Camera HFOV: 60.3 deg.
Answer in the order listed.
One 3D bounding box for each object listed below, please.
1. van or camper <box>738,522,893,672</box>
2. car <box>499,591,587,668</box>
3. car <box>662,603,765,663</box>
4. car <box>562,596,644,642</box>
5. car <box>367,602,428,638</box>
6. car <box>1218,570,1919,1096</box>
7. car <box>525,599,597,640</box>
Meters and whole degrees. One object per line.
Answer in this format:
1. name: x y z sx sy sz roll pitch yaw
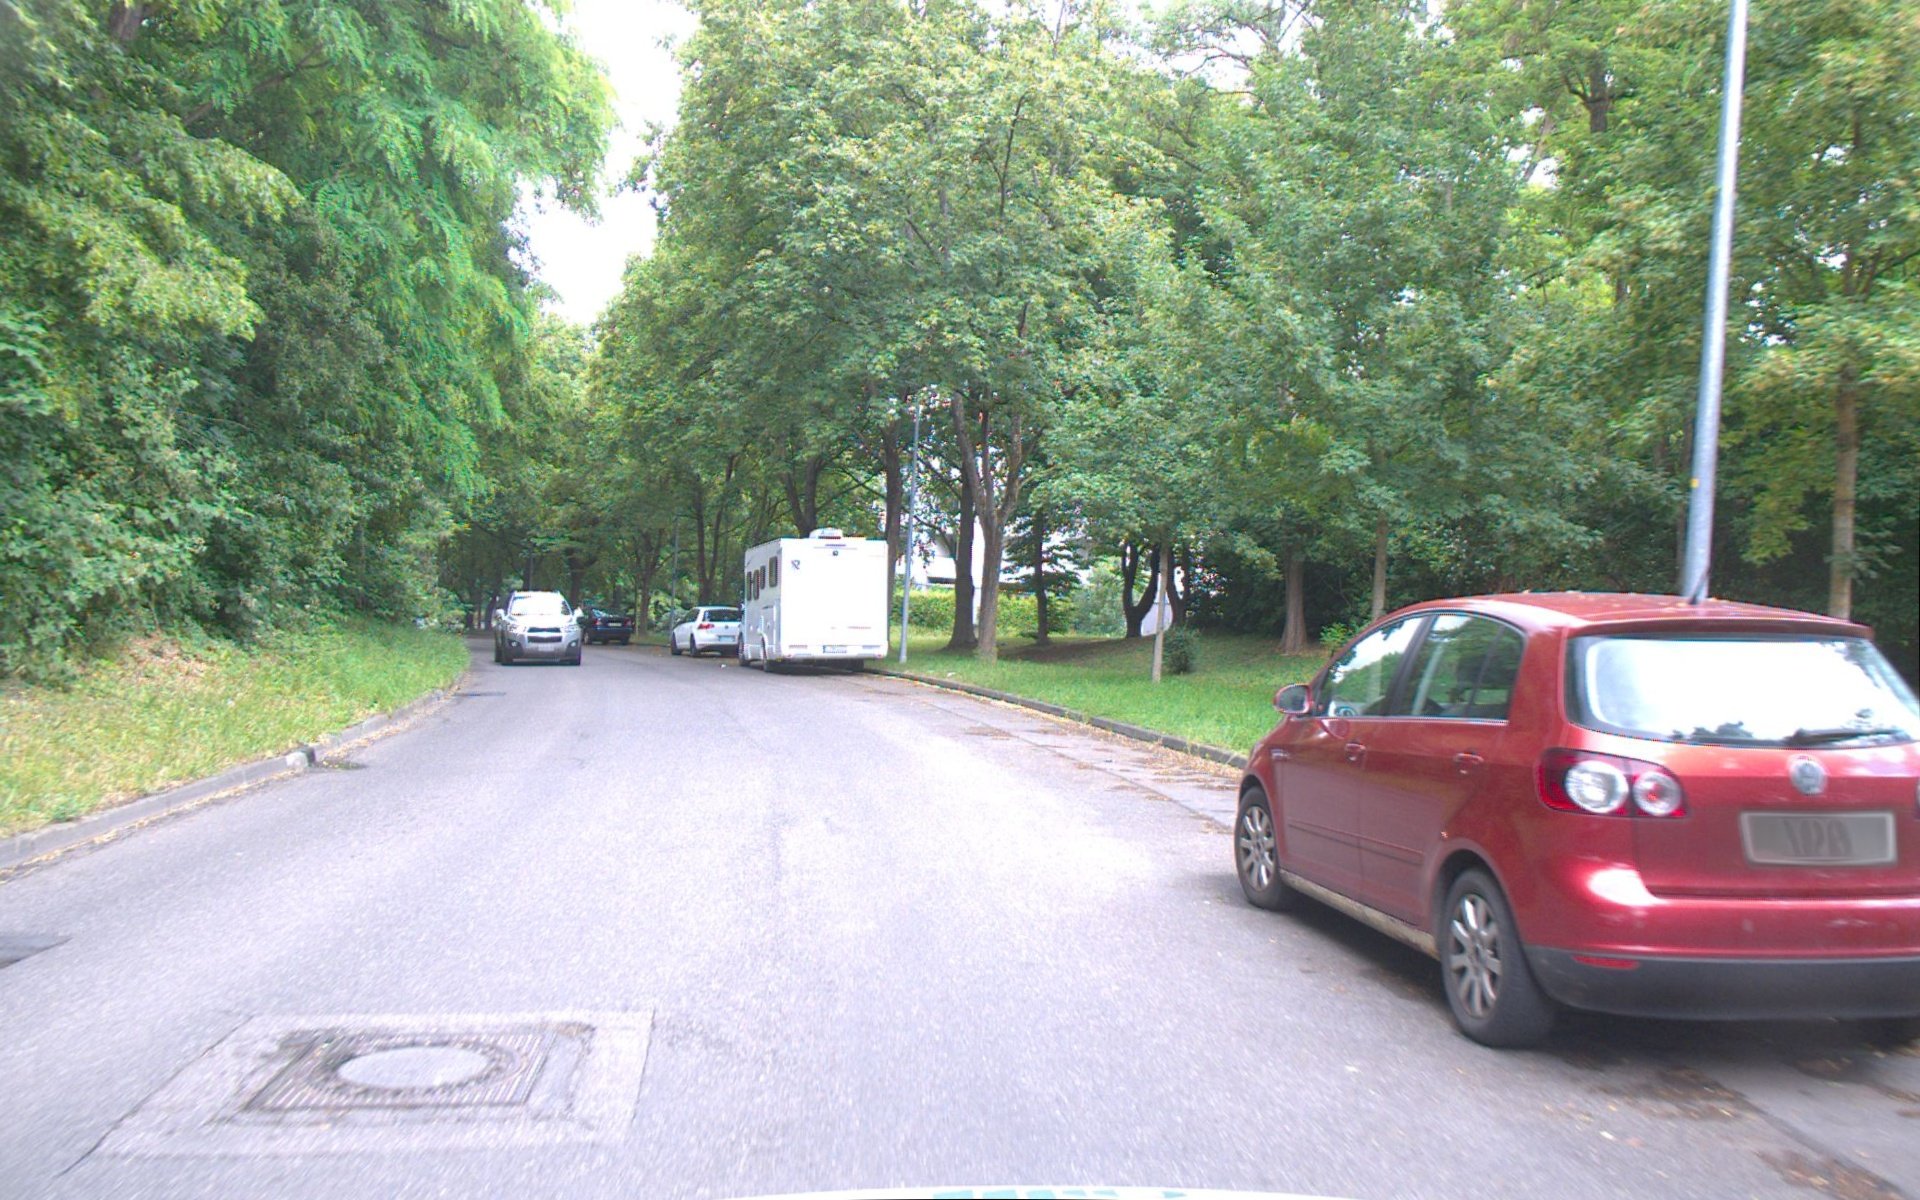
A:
1. van or camper: -3.298 -0.091 36.591 2.390 3.060 5.185 1 1 -17
2. car: -10.124 0.658 39.924 1.828 1.693 4.548 -1 1 -17
3. car: -7.375 0.956 49.144 1.968 1.498 3.970 4 0 -24
4. car: -13.908 0.723 64.337 1.972 1.527 3.961 4 0 -29
5. car: -24.512 0.852 71.961 1.794 1.492 3.959 0 0 -30
6. car: 2.492 0.728 7.106 1.705 1.590 3.994 1 0 -7
7. car: -16.837 0.814 69.651 1.972 1.641 3.961 1 -1 -29
